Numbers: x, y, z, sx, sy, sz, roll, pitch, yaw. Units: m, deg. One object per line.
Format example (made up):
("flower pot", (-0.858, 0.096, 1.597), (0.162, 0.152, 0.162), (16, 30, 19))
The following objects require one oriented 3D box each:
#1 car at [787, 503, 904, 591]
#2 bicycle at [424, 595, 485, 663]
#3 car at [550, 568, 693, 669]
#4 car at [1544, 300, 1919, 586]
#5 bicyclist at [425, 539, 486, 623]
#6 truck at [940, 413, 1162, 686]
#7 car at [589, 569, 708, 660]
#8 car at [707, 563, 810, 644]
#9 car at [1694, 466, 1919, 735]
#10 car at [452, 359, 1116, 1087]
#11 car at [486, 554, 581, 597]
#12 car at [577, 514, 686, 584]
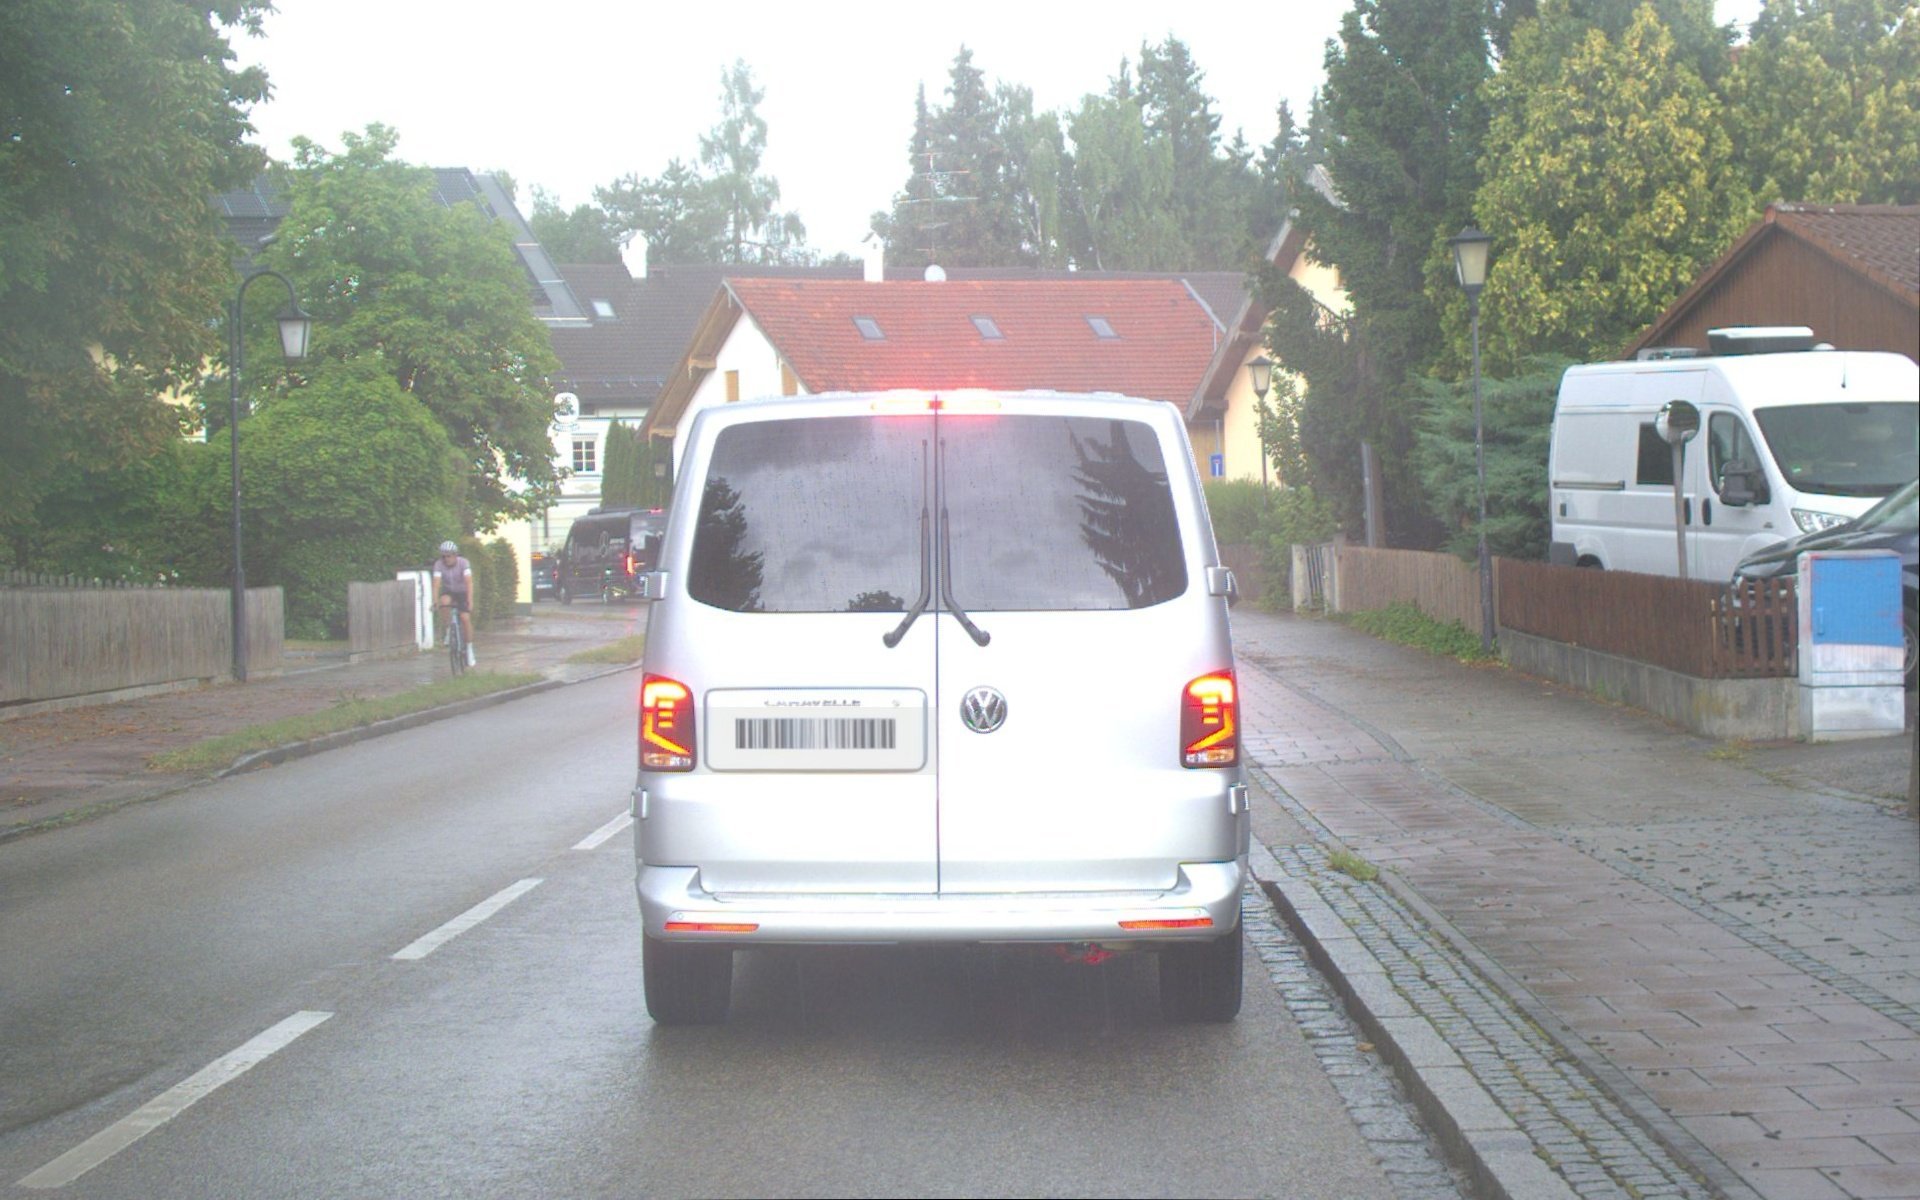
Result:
("car", (-2.753, -1.247, 81.707), (1.993, 2.007, 4.001), (1, 0, -14))
("bicycle", (-6.221, 0.347, 42.363), (0.456, 0.796, 1.977), (0, 1, 0))
("car", (-4.982, 0.254, 50.972), (1.618, 1.439, 3.670), (0, 0, 2))
("car", (6.821, -1.213, 28.952), (1.993, 2.166, 4.954), (1, 0, -13))
("bicyclist", (-6.209, -0.237, 42.372), (0.587, 1.018, 1.060), (0, 1, 0))
("truck", (1.045, -0.589, 42.168), (2.475, 3.063, 6.296), (1, 0, 0))
("car", (-5.071, 0.228, 56.339), (1.618, 1.439, 3.670), (0, 0, 0))
("car", (-4.116, 0.065, 69.610), (1.827, 1.553, 4.178), (-1, 0, -6))
("car", (7.353, -0.059, 23.885), (4.093, 1.745, 1.695), (-1, 3, -2))
("car", (-0.407, 0.333, 11.610), (1.801, 2.007, 4.000), (1, 0, 3))
("car", (-13.461, -0.780, 108.359), (1.780, 1.306, 3.776), (1, 0, -27))
("car", (-9.372, -1.427, 97.845), (1.993, 1.920, 4.001), (1, 0, -22))
